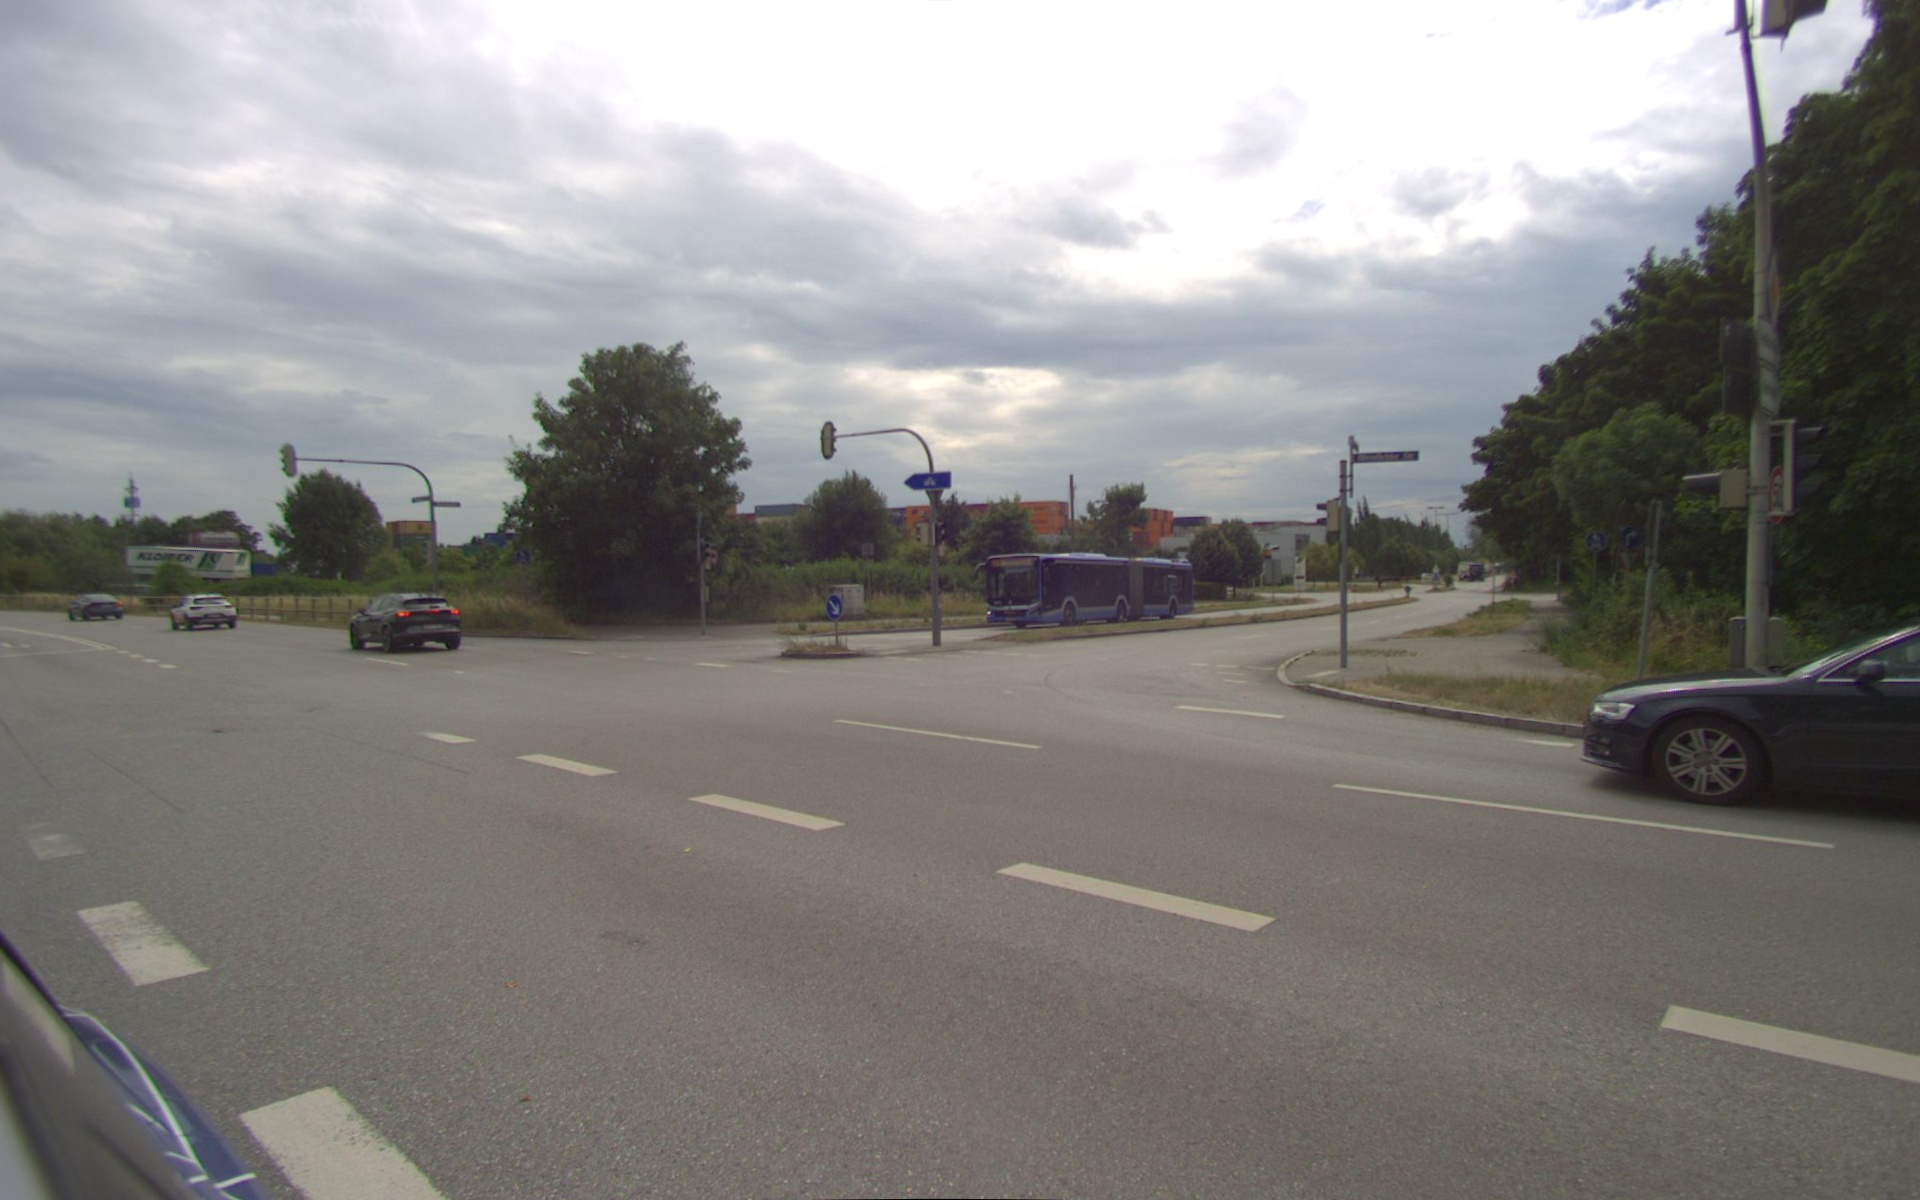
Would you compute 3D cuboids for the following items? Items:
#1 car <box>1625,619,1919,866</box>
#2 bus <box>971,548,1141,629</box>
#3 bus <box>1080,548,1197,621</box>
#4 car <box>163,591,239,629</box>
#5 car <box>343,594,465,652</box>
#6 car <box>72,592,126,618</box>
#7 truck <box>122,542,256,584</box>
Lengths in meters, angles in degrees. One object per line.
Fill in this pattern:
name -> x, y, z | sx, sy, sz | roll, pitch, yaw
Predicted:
car -> 7.001, 0.914, 6.680 | 4.197, 1.497, 1.722 | 0, 0, 41
bus -> 4.404, -0.494, 43.512 | 3.112, 3.069, 9.962 | -1, 0, 32
bus -> 9.138, -0.755, 51.015 | 3.112, 3.372, 7.739 | -1, 0, 32
car -> -33.032, 0.424, 44.012 | 3.997, 1.497, 1.722 | 0, 3, 40
car -> -15.169, 0.565, 27.526 | 4.000, 1.395, 1.721 | 0, 3, 43
car -> -50.980, 0.254, 59.903 | 3.997, 1.395, 1.722 | 1, 3, 40
truck -> -92.503, -4.445, 121.481 | 14.029, 4.358, 3.359 | 3, 1, 4
